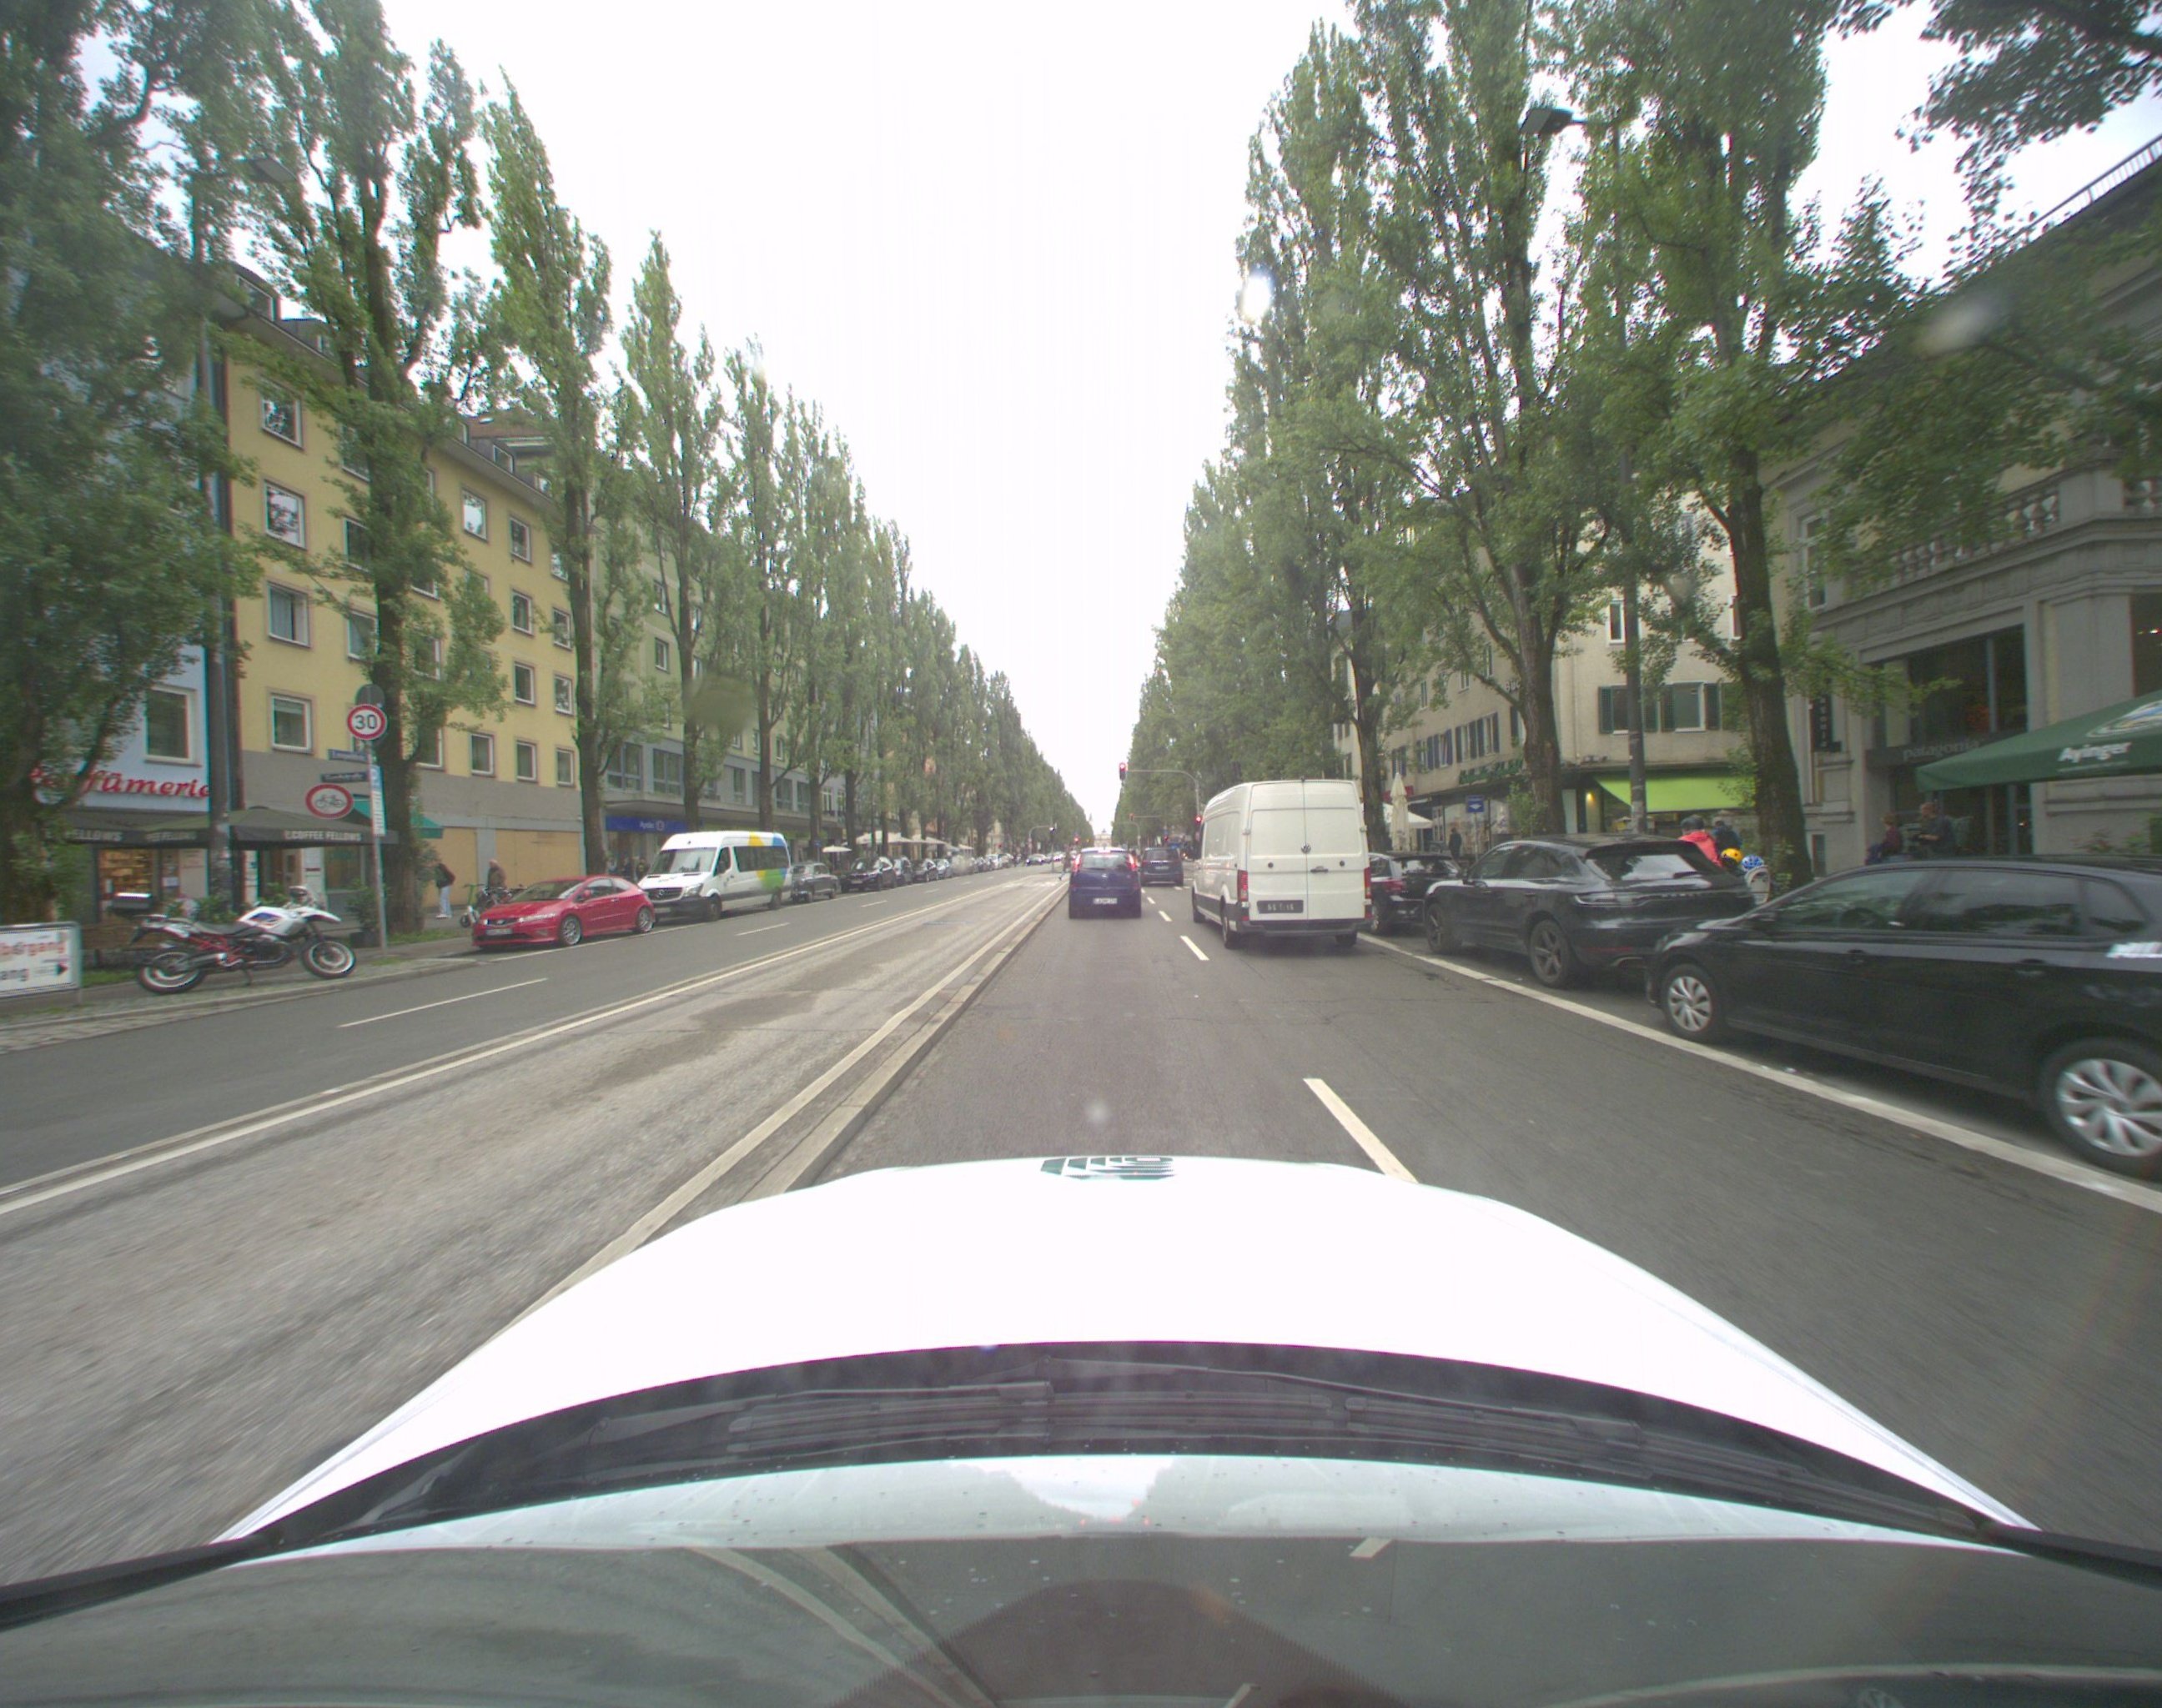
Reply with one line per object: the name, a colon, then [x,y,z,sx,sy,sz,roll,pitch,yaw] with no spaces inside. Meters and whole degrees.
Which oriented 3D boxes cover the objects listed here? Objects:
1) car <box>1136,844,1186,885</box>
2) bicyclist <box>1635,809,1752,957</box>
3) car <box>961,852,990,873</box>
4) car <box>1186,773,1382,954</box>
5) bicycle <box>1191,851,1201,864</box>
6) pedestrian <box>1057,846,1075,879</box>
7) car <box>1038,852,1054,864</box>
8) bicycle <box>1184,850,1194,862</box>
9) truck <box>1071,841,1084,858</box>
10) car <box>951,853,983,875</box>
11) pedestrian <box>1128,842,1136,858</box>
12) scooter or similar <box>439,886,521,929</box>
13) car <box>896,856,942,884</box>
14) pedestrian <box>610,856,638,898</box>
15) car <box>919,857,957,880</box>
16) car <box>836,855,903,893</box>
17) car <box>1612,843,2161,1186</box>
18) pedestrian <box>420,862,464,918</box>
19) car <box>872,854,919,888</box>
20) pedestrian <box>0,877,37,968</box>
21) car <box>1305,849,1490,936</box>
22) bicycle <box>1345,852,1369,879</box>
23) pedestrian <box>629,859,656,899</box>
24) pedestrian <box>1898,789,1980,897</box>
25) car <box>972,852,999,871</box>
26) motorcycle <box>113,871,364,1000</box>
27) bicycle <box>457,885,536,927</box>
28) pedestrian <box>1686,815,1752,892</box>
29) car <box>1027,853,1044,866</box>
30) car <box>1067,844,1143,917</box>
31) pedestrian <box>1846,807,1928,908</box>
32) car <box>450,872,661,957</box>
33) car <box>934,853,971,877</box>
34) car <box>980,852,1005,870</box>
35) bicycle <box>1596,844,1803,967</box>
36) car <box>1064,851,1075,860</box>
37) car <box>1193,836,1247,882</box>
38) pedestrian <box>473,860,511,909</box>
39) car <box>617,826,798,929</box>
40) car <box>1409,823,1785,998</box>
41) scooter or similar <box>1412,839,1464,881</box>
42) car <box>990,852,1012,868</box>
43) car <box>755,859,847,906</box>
car: [3.382,0.406,35.153,1.889,1.622,4.002,-1,0,2]
bicyclist: [7.682,0.347,10.253,0.764,1.766,0.885,-2,0,1]
car: [-9.471,0.754,73.340,1.859,1.665,4.122,-3,0,1]
car: [3.274,0.110,14.776,2.055,2.492,6.733,-1,0,2]
bicycle: [12.439,0.369,88.207,0.770,1.349,2.450,-2,0,1]
pedestrian: [-0.782,0.435,42.108,0.857,1.684,0.626,-2,0,-2]
car: [-4.840,0.513,112.655,1.739,1.434,4.131,-3,0,2]
bicycle: [12.511,0.257,94.421,0.770,1.349,2.450,-2,0,1]
truck: [-0.748,-0.889,167.637,2.374,3.346,7.113,-2,0,2]
car: [-9.524,0.789,68.287,1.859,1.665,4.122,-3,0,1]
pedestrian: [5.835,-0.458,92.455,0.719,1.827,0.885,0,-1,-8]
scooter or similar: [-15.722,1.387,21.326,1.768,1.026,0.421,-2,0,-2]
car: [-10.078,0.955,50.918,1.792,1.488,4.352,-3,0,2]
pedestrian: [-19.884,1.004,35.463,0.694,1.795,0.728,-2,0,6]
car: [-9.886,0.966,56.494,1.727,1.425,4.145,-3,0,2]
car: [-10.369,0.939,40.270,1.859,1.664,4.612,-3,0,2]
car: [5.404,0.667,4.997,1.689,1.416,3.950,-2,0,0]
pedestrian: [-19.149,1.081,24.409,0.691,1.636,0.731,-2,0,26]
car: [-10.334,0.899,45.671,1.705,1.721,3.920,-3,0,-1]
pedestrian: [-20.690,1.307,15.426,0.753,1.686,0.786,-2,0,4]
car: [5.804,0.618,15.560,1.705,1.393,4.340,-1,0,-2]
bicycle: [10.768,0.446,31.826,0.348,0.996,1.453,-3,0,-2]
pedestrian: [-19.096,1.092,35.465,0.694,1.700,0.728,-2,0,6]
pedestrian: [14.831,-0.190,14.103,0.866,1.796,0.779,-2,0,41]
car: [-9.211,0.708,78.865,1.859,1.665,4.122,-3,0,1]
motorcycle: [-11.610,1.053,11.378,2.360,1.563,0.706,-1,0,-41]
bicycle: [-15.758,1.389,21.964,1.768,1.026,0.421,-2,0,-2]
pedestrian: [14.452,-0.006,18.470,0.794,1.677,0.877,-2,0,2]
car: [-5.777,0.656,104.439,1.691,1.462,4.714,-3,0,2]
car: [0.596,0.577,19.964,1.665,1.568,4.002,-1,0,2]
pedestrian: [13.938,0.060,14.089,0.804,1.677,0.867,-2,0,-37]
car: [-11.196,1.207,17.758,1.731,1.419,4.150,-3,0,2]
car: [-9.785,0.796,62.288,1.859,1.665,4.402,-3,0,2]
car: [-9.131,0.689,84.127,1.859,1.665,4.122,-3,0,1]
bicycle: [7.686,0.567,10.329,0.770,1.349,2.450,-2,0,1]
car: [-1.909,0.188,138.803,1.728,1.465,3.366,-2,0,1]
car: [6.318,0.218,37.442,1.781,1.946,4.732,-1,0,1]
pedestrian: [-20.199,1.044,27.960,0.694,1.636,0.727,-2,0,4]
car: [-10.953,0.589,24.737,1.998,2.567,6.914,-3,0,2]
car: [5.807,0.530,9.970,1.797,1.637,4.447,-1,0,0]
scooter or similar: [12.539,0.163,28.694,0.634,1.376,2.493,-3,1,-2]
car: [-8.924,0.615,91.403,1.859,1.665,4.122,-3,0,1]
car: [-10.823,1.056,31.837,1.859,1.552,4.416,-3,0,2]
